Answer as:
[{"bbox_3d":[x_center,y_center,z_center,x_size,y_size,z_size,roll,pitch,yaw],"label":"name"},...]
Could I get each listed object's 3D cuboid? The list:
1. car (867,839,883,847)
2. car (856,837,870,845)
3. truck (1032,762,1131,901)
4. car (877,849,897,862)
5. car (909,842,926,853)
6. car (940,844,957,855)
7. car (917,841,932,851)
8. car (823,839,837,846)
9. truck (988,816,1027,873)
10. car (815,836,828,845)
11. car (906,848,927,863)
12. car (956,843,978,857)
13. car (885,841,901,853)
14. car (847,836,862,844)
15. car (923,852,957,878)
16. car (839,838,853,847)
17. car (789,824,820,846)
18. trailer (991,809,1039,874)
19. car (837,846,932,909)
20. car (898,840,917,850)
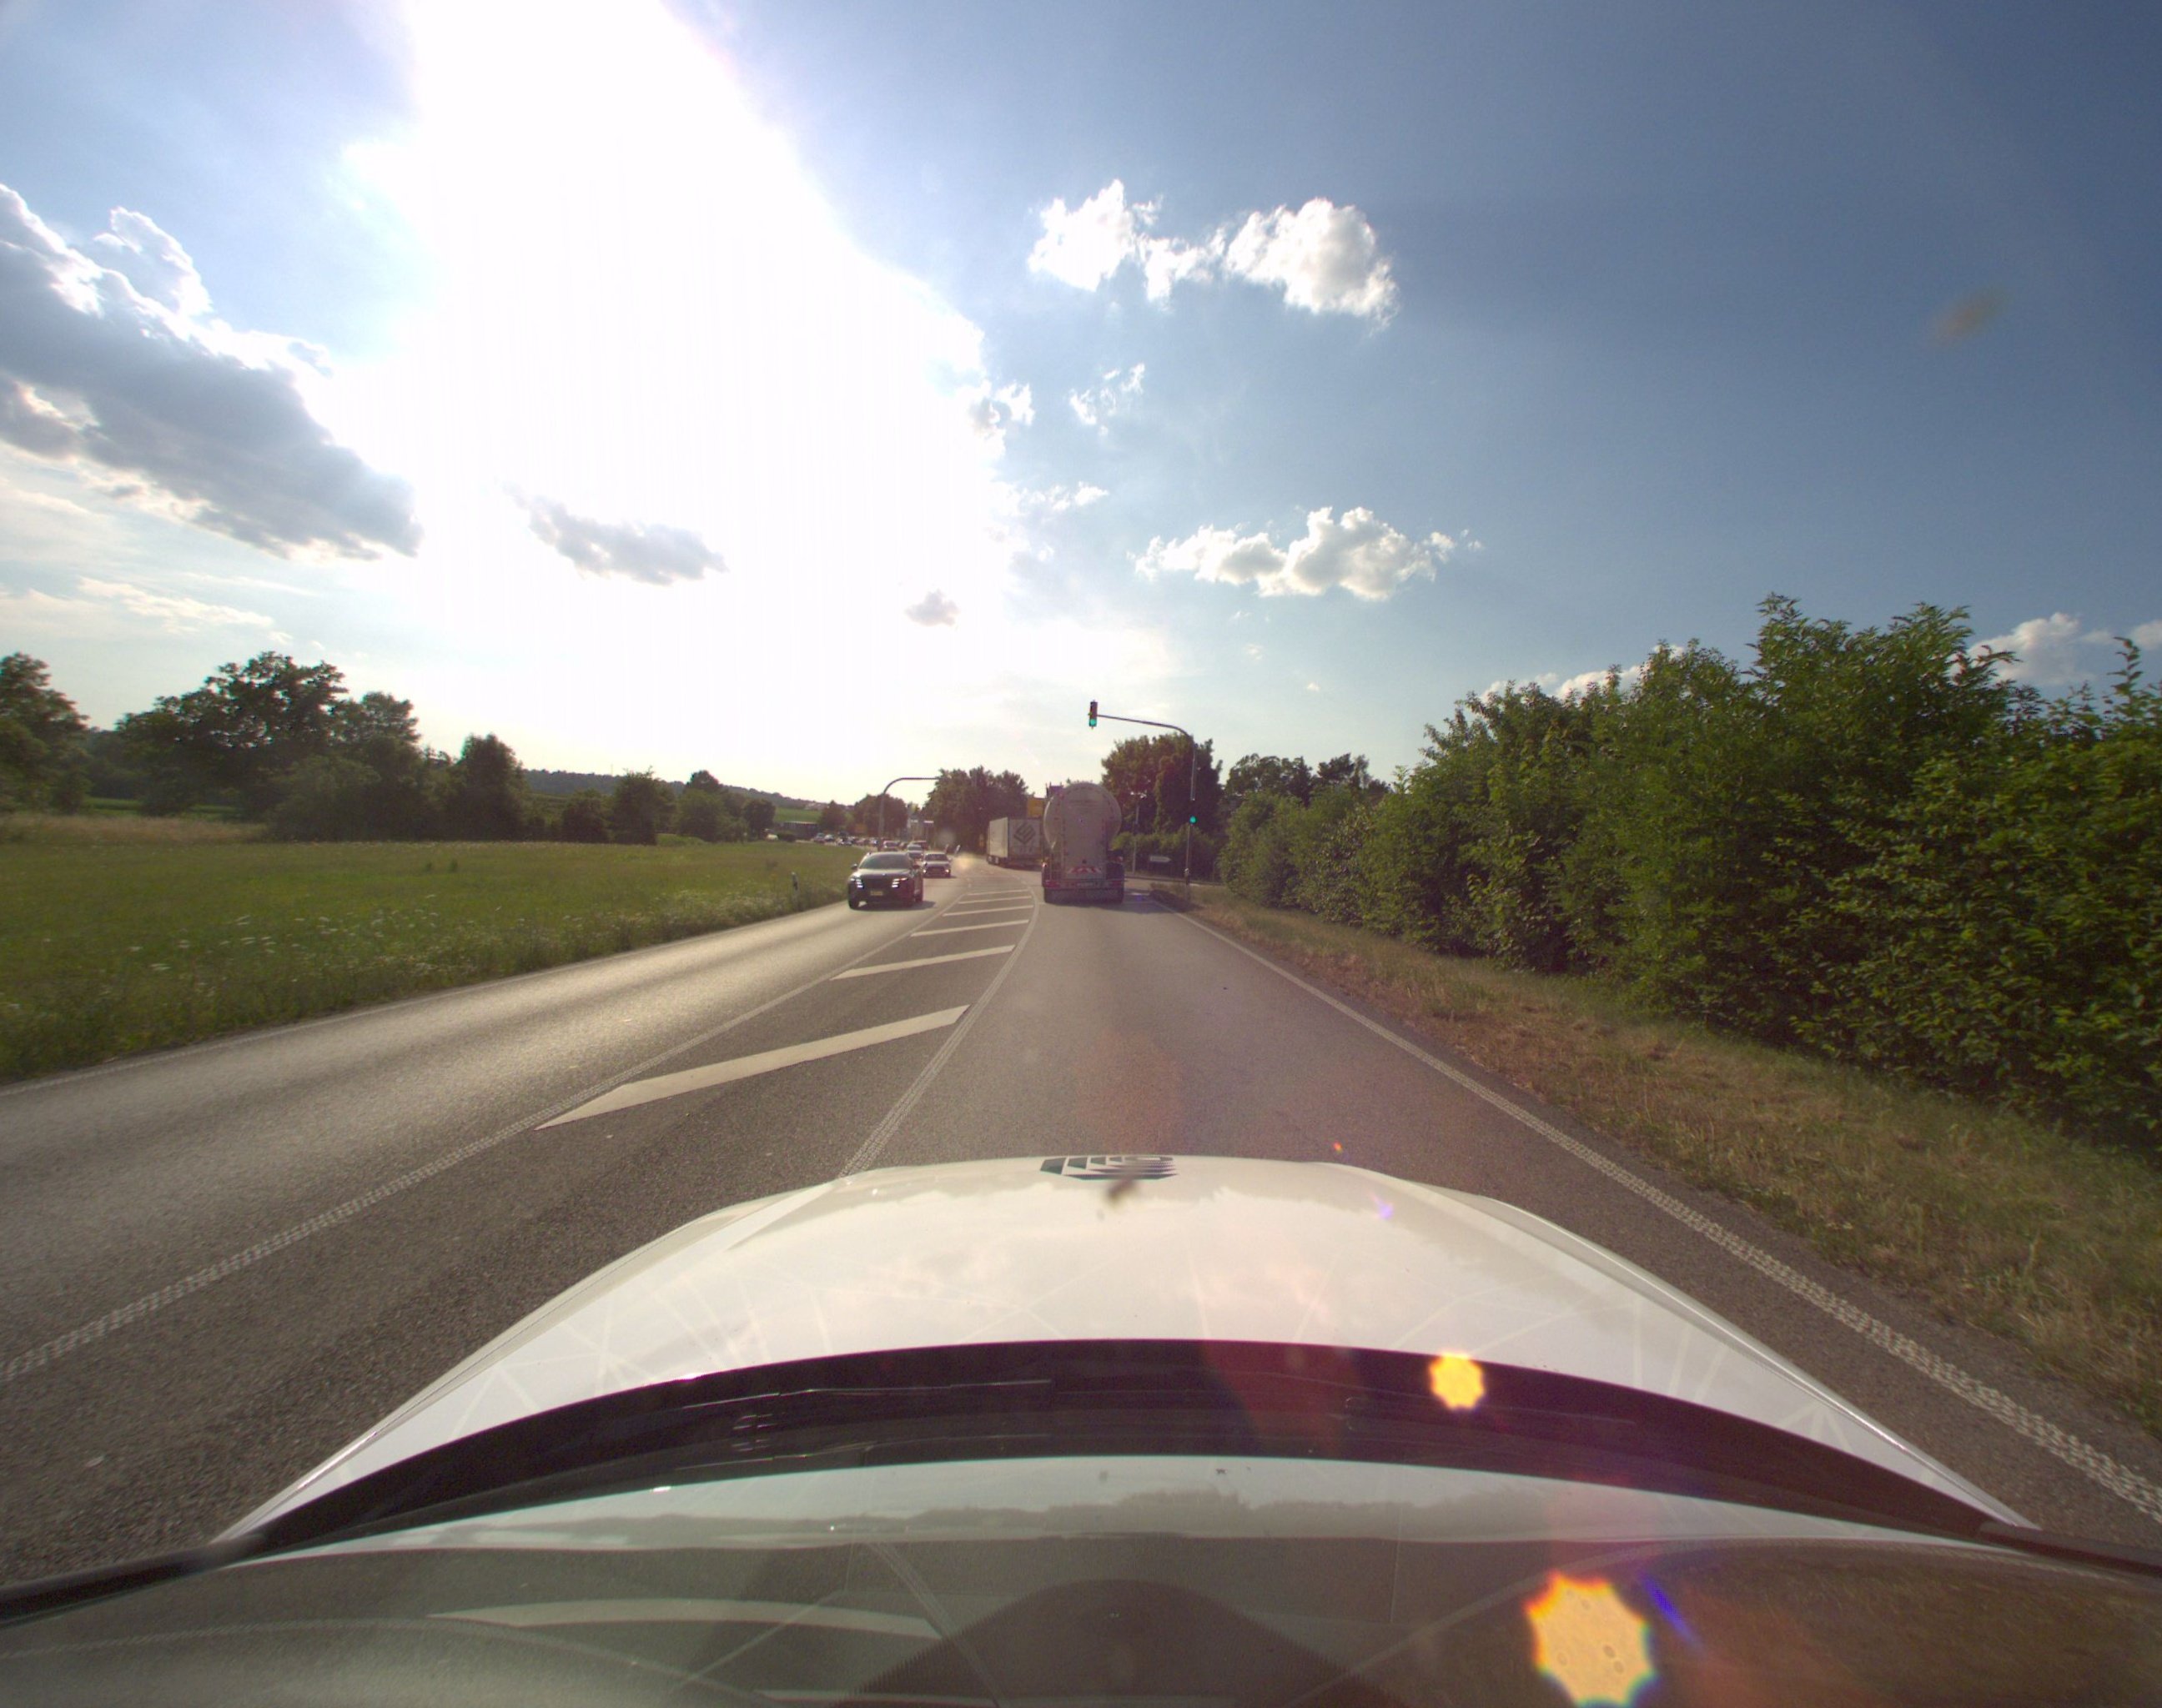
[{"bbox_3d":[-39.780,-2.092,157.129,2.098,1.599,3.963,1,0,-29],"label":"car"},{"bbox_3d":[-43.659,-2.569,163.132,1.893,1.599,3.962,1,0,-30],"label":"car"},{"bbox_3d":[-0.305,-0.578,30.493,2.969,4.176,11.646,1,-1,-3],"label":"truck"},{"bbox_3d":[-23.724,0.185,99.615,1.889,1.599,3.972,1,0,-21],"label":"car"},{"bbox_3d":[-26.087,-1.028,130.010,1.889,1.599,3.971,1,0,-22],"label":"car"},{"bbox_3d":[-19.507,-0.604,119.588,1.690,1.468,3.972,1,-1,-21],"label":"car"},{"bbox_3d":[-27.459,-1.456,143.053,1.848,1.656,3.972,1,-1,-21],"label":"car"},{"bbox_3d":[-55.830,-2.546,180.831,1.895,1.599,3.959,1,0,-33],"label":"car"},{"bbox_3d":[-6.745,-0.798,74.122,2.962,4.887,6.408,1,-1,-10],"label":"truck"},{"bbox_3d":[-52.998,-2.744,166.165,1.893,1.599,3.964,1,0,-28],"label":"car"},{"bbox_3d":[-17.558,0.140,86.823,1.884,1.599,3.981,1,0,-14],"label":"car"},{"bbox_3d":[-14.559,-0.442,103.944,1.999,1.656,3.975,1,-1,-19],"label":"car"},{"bbox_3d":[-26.133,-0.916,113.269,1.886,1.599,3.978,1,0,-16],"label":"car"},{"bbox_3d":[-46.798,-2.893,167.937,1.895,1.599,3.959,1,0,-33],"label":"car"},{"bbox_3d":[-8.292,0.610,48.101,1.718,1.436,3.741,-1,0,-6],"label":"car"},{"bbox_3d":[-43.101,-2.054,149.398,1.891,1.599,3.967,1,0,-26],"label":"car"},{"bbox_3d":[-66.419,-4.584,195.238,3.567,5.059,13.101,1,0,-35],"label":"car"},{"bbox_3d":[-5.521,-0.855,66.766,2.964,4.882,10.253,1,-1,-10],"label":"trailer"},{"bbox_3d":[-5.933,0.639,25.090,1.989,1.725,4.422,1,1,-3],"label":"car"},{"bbox_3d":[-29.329,-1.510,137.539,2.096,1.599,3.966,1,0,-26],"label":"car"}]
